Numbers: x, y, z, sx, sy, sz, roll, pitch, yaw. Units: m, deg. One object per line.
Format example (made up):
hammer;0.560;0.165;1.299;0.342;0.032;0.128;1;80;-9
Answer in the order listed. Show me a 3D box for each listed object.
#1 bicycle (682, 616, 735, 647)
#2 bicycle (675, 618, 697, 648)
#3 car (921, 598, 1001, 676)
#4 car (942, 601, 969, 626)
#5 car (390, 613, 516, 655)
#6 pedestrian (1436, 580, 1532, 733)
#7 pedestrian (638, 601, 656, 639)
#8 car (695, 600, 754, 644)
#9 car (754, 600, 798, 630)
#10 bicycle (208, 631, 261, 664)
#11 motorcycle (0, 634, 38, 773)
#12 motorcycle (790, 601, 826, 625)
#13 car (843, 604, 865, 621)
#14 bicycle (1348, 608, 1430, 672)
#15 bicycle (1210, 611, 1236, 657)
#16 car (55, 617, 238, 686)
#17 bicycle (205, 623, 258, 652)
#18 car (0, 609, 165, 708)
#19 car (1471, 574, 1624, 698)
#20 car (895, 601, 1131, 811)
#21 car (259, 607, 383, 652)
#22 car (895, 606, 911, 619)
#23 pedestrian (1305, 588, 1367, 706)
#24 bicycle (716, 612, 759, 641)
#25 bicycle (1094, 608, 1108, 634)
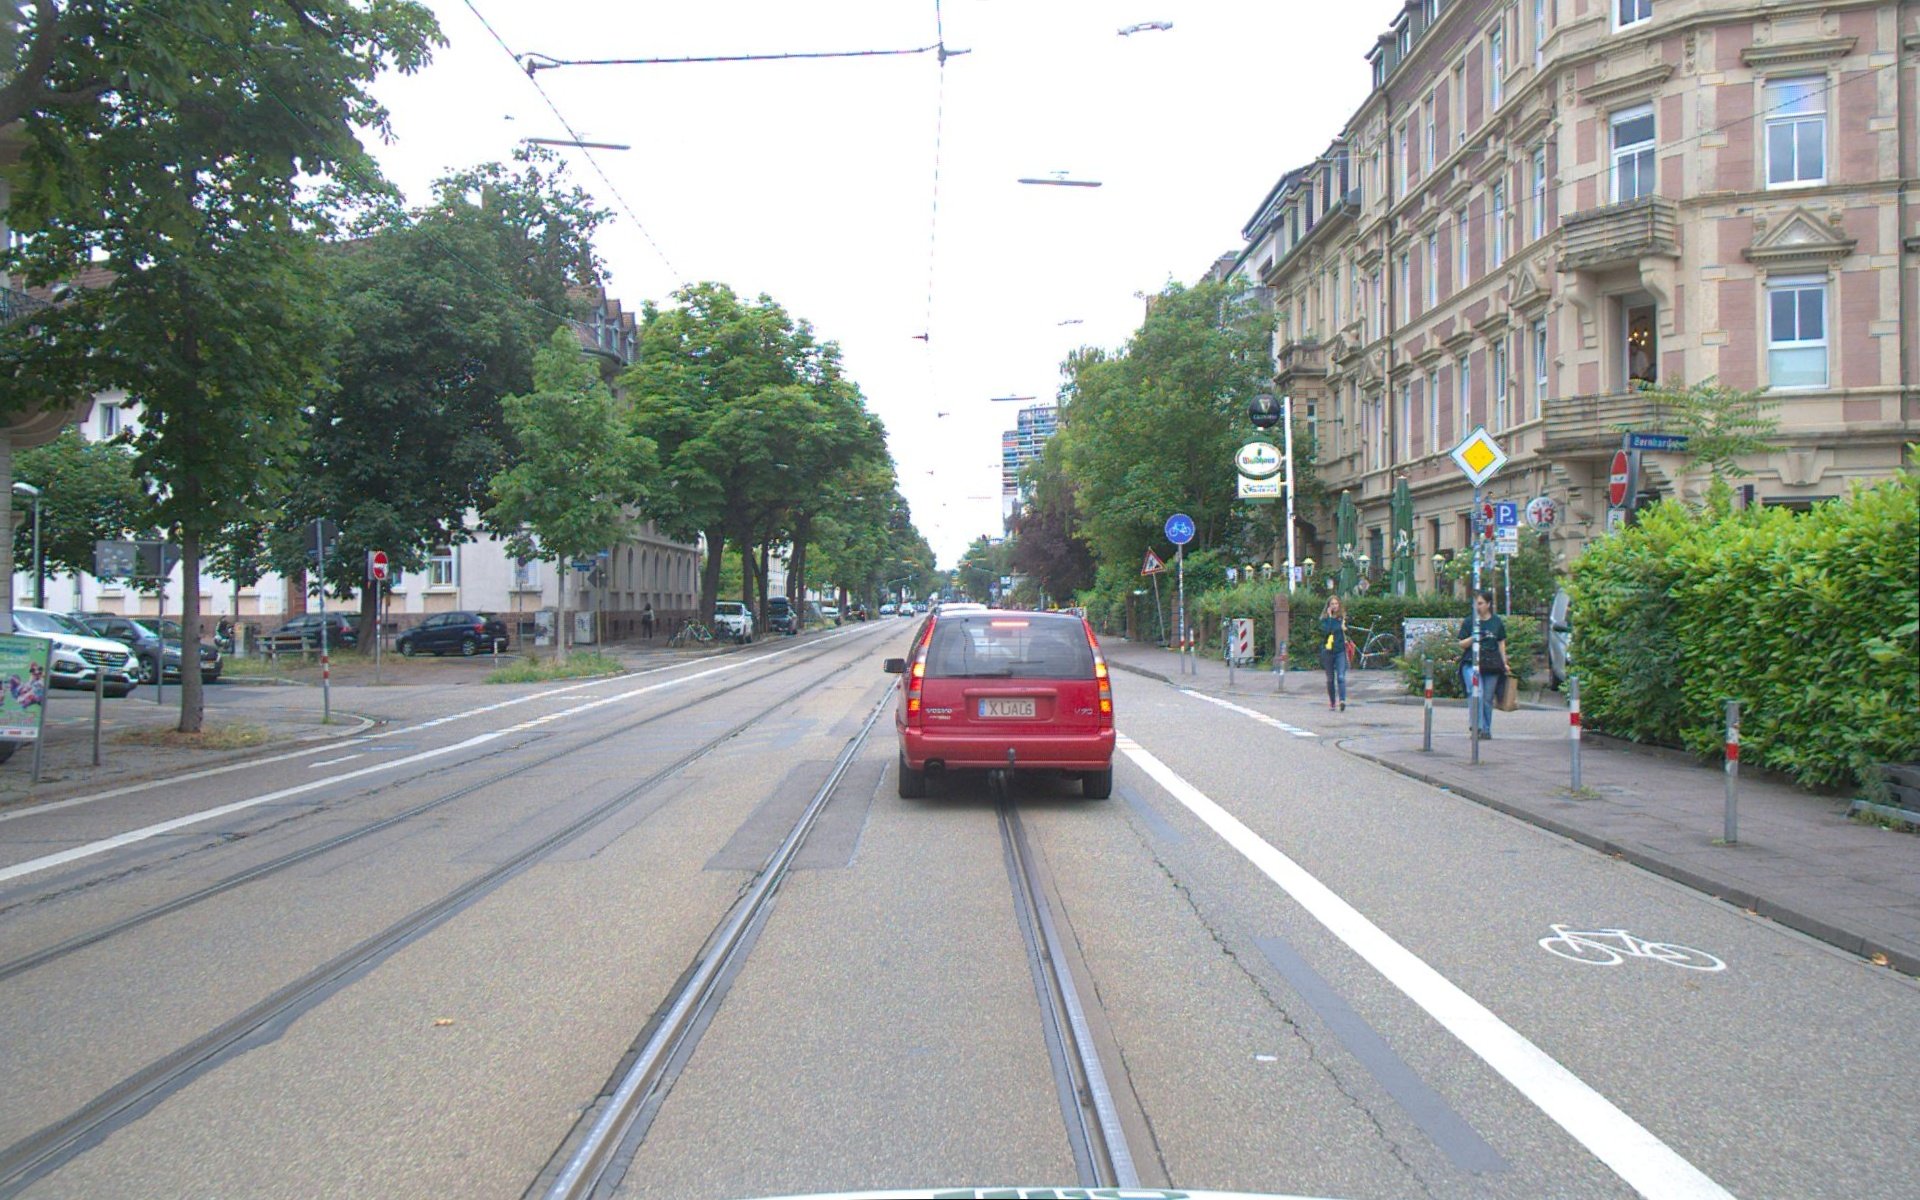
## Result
bicycle;-9.452;1.186;62.294;1.883;1.141;0.624;1;-1;-1
bicycle;-9.375;1.128;56.628;0.473;0.975;1.398;-1;0;2
car;0.071;0.796;37.126;1.683;1.653;3.941;0;0;1
car;-0.340;0.911;113.758;1.706;1.634;3.998;0;0;-3
car;-16.555;1.111;54.012;3.673;1.330;1.741;-1;0;23
pedestrian;5.918;0.624;18.719;0.776;1.665;0.836;-2;-1;2
pedestrian;-12.379;0.784;65.352;0.553;1.493;0.722;-1;0;0
car;-9.369;0.850;66.143;1.859;1.684;4.224;0;0;-2
car;-9.423;0.754;84.958;1.741;1.537;4.237;0;0;0
bicycle;-20.876;1.360;47.592;1.637;0.941;0.448;-1;0;28
motorcycle;-9.194;0.975;15.152;0.529;1.279;2.139;-1;0;-7
motorcycle;-9.851;0.865;107.214;2.226;1.538;0.923;-1;-2;35
car;-9.712;1.147;152.191;1.813;1.590;3.942;0;0;-1
bicycle;8.723;0.813;33.670;1.570;1.299;0.513;-1;0;11
bicycle;6.258;0.797;39.381;0.295;1.060;1.848;-1;0;-1
car;-18.090;1.102;36.765;3.979;1.435;1.659;0;0;29
bicycle;-27.575;1.411;62.591;2.141;1.053;0.653;-1;-1;27
car;-17.013;1.038;30.152;4.407;1.692;1.940;-1;0;18
car;9.932;0.556;28.328;2.008;1.910;5.033;-1;0;14
car;0.359;0.745;13.510;1.654;1.467;3.742;0;0;-1
car;-21.851;0.993;56.581;3.852;1.489;1.706;-1;0;22
car;-6.697;1.460;194.739;1.720;1.404;4.025;-1;0;-1
pedestrian;5.459;0.671;24.050;0.854;1.685;0.909;-1;0;12
bicycle;-9.603;1.123;71.487;1.706;1.213;0.653;1;0;14
bicycle;5.969;0.880;70.144;0.469;1.063;1.531;-1;0;0
